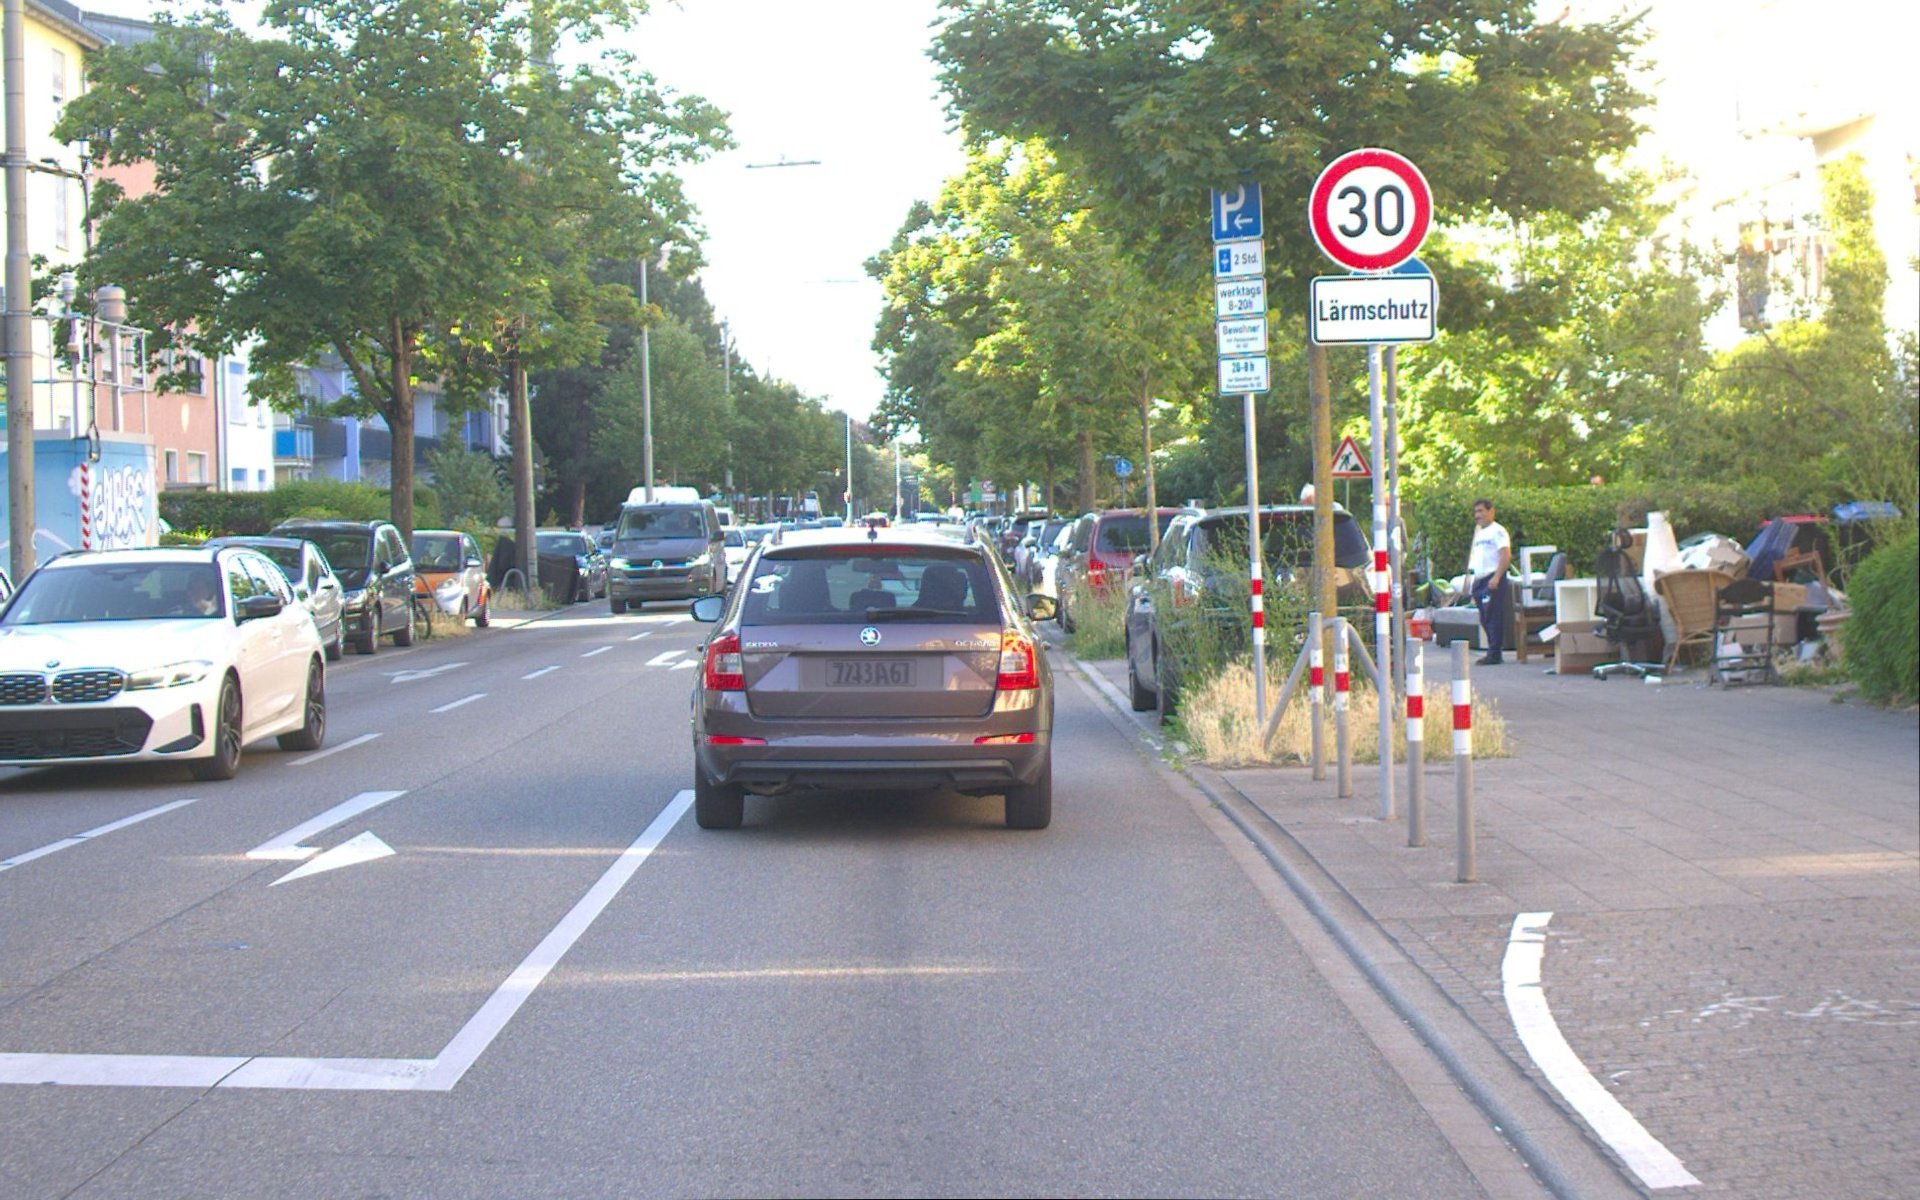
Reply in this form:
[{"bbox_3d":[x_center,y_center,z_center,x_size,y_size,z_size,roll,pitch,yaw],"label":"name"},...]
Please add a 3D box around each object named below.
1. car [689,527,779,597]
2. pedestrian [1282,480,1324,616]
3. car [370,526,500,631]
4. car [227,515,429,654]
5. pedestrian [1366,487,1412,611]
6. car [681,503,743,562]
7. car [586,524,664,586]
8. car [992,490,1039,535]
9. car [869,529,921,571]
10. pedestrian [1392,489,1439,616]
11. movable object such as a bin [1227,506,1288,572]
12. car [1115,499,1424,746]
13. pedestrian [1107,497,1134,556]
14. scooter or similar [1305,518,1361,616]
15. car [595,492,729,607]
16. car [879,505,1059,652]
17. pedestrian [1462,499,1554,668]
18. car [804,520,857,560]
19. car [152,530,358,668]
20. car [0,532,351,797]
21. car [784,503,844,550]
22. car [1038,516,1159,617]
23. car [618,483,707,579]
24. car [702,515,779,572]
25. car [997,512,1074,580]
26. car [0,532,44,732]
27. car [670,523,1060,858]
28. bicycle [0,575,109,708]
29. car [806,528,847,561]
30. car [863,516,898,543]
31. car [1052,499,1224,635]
[{"bbox_3d":[-5.129,-0.887,78.464,1.815,1.441,4.111,-3,1,-2],"label":"car"},{"bbox_3d":[4.697,-0.715,47.079,0.548,1.843,0.764,-1,1,7],"label":"pedestrian"},{"bbox_3d":[-8.344,-0.365,54.845,1.499,1.611,2.861,0,1,3],"label":"car"},{"bbox_3d":[-8.326,-0.247,45.678,1.784,1.727,4.617,-1,1,0],"label":"car"},{"bbox_3d":[5.889,-0.705,47.167,0.510,1.691,0.527,-1,1,-5],"label":"pedestrian"},{"bbox_3d":[-8.687,-2.383,120.795,1.868,2.024,5.301,0,1,-1],"label":"car"},{"bbox_3d":[-8.386,-1.136,86.241,1.612,1.468,3.813,1,1,-1],"label":"car"},{"bbox_3d":[2.178,-3.404,133.957,1.754,1.680,4.252,1,1,1],"label":"car"},{"bbox_3d":[-2.424,-1.858,127.378,1.781,1.475,3.972,1,1,-3],"label":"car"},{"bbox_3d":[6.107,-0.640,46.141,0.510,1.691,0.527,-1,1,-5],"label":"pedestrian"},{"bbox_3d":[6.976,-1.434,80.600,1.267,1.487,1.139,-3,1,10],"label":"movable object such as a bin"},{"bbox_3d":[2.163,0.101,25.011,1.792,1.626,4.030,-1,1,-1],"label":"car"},{"bbox_3d":[5.111,-2.349,109.496,0.749,1.854,1.068,-2,1,-1],"label":"pedestrian"},{"bbox_3d":[5.101,-0.456,47.038,0.746,1.313,0.721,-1,1,7],"label":"scooter or similar"},{"bbox_3d":[-5.434,-0.946,63.255,1.993,1.939,4.778,-3,1,-1],"label":"car"},{"bbox_3d":[0.067,-0.243,39.202,1.892,1.501,3.790,3,0,-1],"label":"car"},{"bbox_3d":[5.139,-0.160,32.282,0.555,1.562,0.748,-1,1,-18],"label":"pedestrian"},{"bbox_3d":[-5.035,-2.355,133.933,1.700,1.465,4.294,-2,1,2],"label":"car"},{"bbox_3d":[-8.306,-0.052,40.817,1.682,1.516,4.192,-1,1,-2],"label":"car"},{"bbox_3d":[-5.311,0.343,22.345,1.836,1.468,4.672,-2,1,0],"label":"car"},{"bbox_3d":[-4.606,-2.332,108.914,1.700,1.399,4.028,-3,1,-1],"label":"car"},{"bbox_3d":[2.169,-0.565,54.666,1.636,1.485,4.416,-2,1,-1],"label":"car"},{"bbox_3d":[-8.405,-1.977,97.641,1.993,2.607,7.106,0,1,-1],"label":"car"},{"bbox_3d":[-6.138,-1.606,96.506,1.832,1.465,4.452,-4,1,-1],"label":"car"},{"bbox_3d":[1.845,-1.349,84.522,1.718,1.595,4.096,-1,1,-1],"label":"car"},{"bbox_3d":[-8.248,0.270,26.268,1.637,1.546,3.787,-1,1,-3],"label":"car"},{"bbox_3d":[-0.388,0.365,17.601,1.754,1.487,4.000,1,1,1],"label":"car"},{"bbox_3d":[-8.361,0.323,29.319,2.005,1.085,0.583,3,0,1],"label":"bicycle"},{"bbox_3d":[-6.482,-2.688,166.624,1.879,1.537,4.268,-1,1,-3],"label":"car"},{"bbox_3d":[-5.300,-4.665,228.191,1.993,1.744,4.001,-1,1,-6],"label":"car"},{"bbox_3d":[2.244,-0.457,44.456,1.721,1.650,4.598,-1,1,-3],"label":"car"}]
